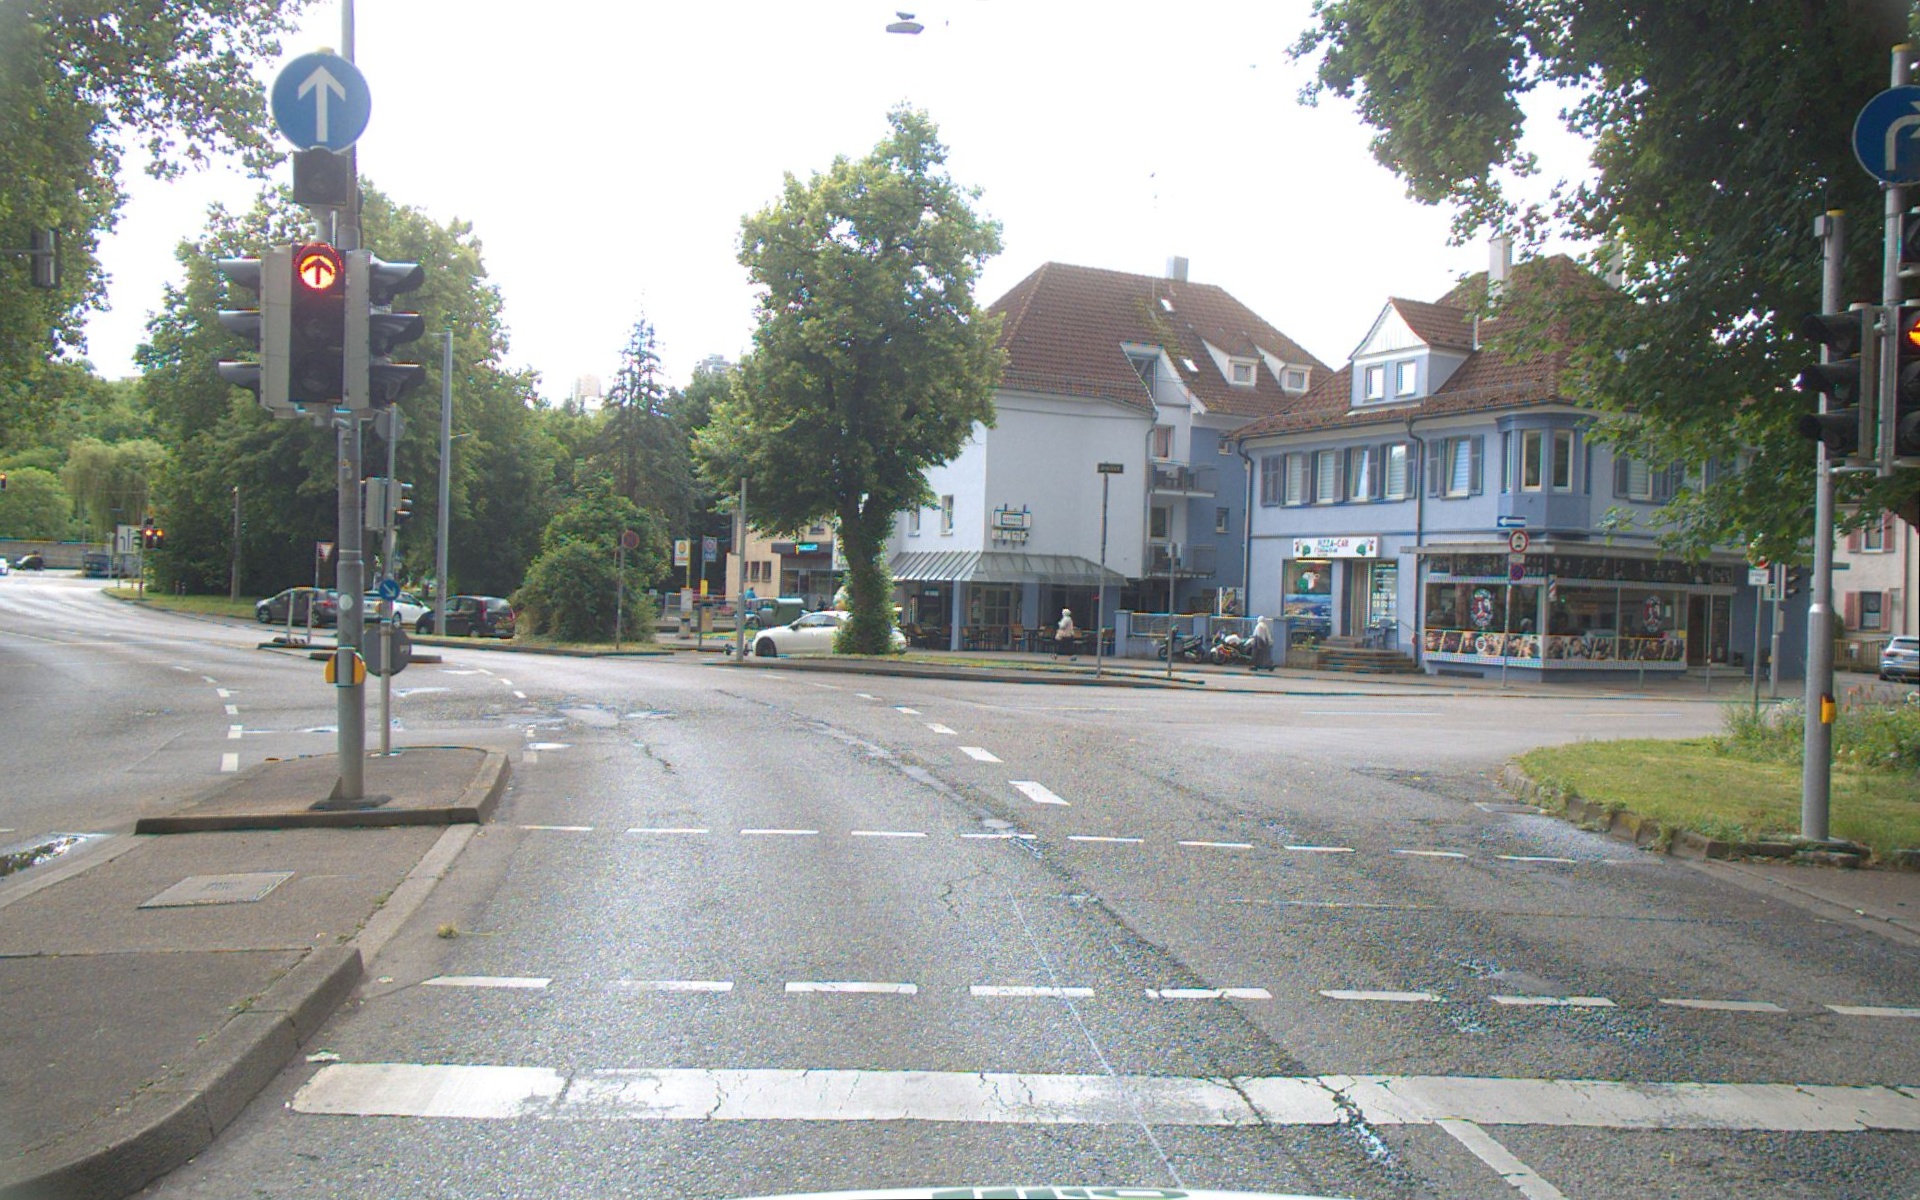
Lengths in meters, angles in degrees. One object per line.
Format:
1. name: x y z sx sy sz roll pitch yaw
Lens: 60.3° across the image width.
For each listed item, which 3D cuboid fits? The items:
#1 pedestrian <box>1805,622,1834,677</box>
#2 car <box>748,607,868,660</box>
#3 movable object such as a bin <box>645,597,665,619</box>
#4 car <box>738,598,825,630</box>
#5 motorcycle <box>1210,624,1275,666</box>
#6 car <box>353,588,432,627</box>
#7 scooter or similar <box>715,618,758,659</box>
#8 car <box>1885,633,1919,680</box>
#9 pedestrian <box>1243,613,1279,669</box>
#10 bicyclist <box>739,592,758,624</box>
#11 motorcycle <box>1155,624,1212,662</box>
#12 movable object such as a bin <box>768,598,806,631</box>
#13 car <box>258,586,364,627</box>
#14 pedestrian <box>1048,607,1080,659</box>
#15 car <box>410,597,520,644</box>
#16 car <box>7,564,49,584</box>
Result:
1. pedestrian: 24.576 1.408 47.315 0.451 1.544 0.584 1 -1 -21
2. car: -4.244 0.918 45.957 3.110 1.378 1.435 1 0 34
3. movable object such as a bin: -15.854 0.398 85.912 0.937 1.135 0.381 1 0 -22
4. car: -8.158 0.644 75.730 3.690 1.368 1.421 1 0 -27
5. motorcycle: 8.274 1.312 48.480 1.765 1.141 0.692 1 0 38
6. car: -22.668 0.309 66.182 1.512 1.490 3.398 1 0 10
7. scooter or similar: -5.729 0.983 42.540 0.408 1.029 1.567 1 0 20
8. car: 29.853 1.739 51.414 1.471 1.393 3.164 1 0 38
9. pedestrian: 8.501 1.155 46.749 0.754 1.572 0.675 1 -1 38
10. bicyclist: -10.547 0.393 82.375 0.586 1.568 0.739 1 0 26
11. motorcycle: 6.793 1.295 50.236 1.609 1.082 0.690 1 0 44
12. movable object such as a bin: -7.719 0.660 73.840 1.424 1.433 0.959 1 0 -27
13. car: -24.859 0.247 63.391 3.469 1.490 1.586 1 0 12
14. pedestrian: 3.189 1.004 50.816 0.694 1.572 0.675 1 0 39
15. car: -16.006 0.661 53.460 3.519 1.418 1.468 1 0 32
16. car: -102.221 -2.820 181.484 3.948 2.049 1.978 1 0 -32
